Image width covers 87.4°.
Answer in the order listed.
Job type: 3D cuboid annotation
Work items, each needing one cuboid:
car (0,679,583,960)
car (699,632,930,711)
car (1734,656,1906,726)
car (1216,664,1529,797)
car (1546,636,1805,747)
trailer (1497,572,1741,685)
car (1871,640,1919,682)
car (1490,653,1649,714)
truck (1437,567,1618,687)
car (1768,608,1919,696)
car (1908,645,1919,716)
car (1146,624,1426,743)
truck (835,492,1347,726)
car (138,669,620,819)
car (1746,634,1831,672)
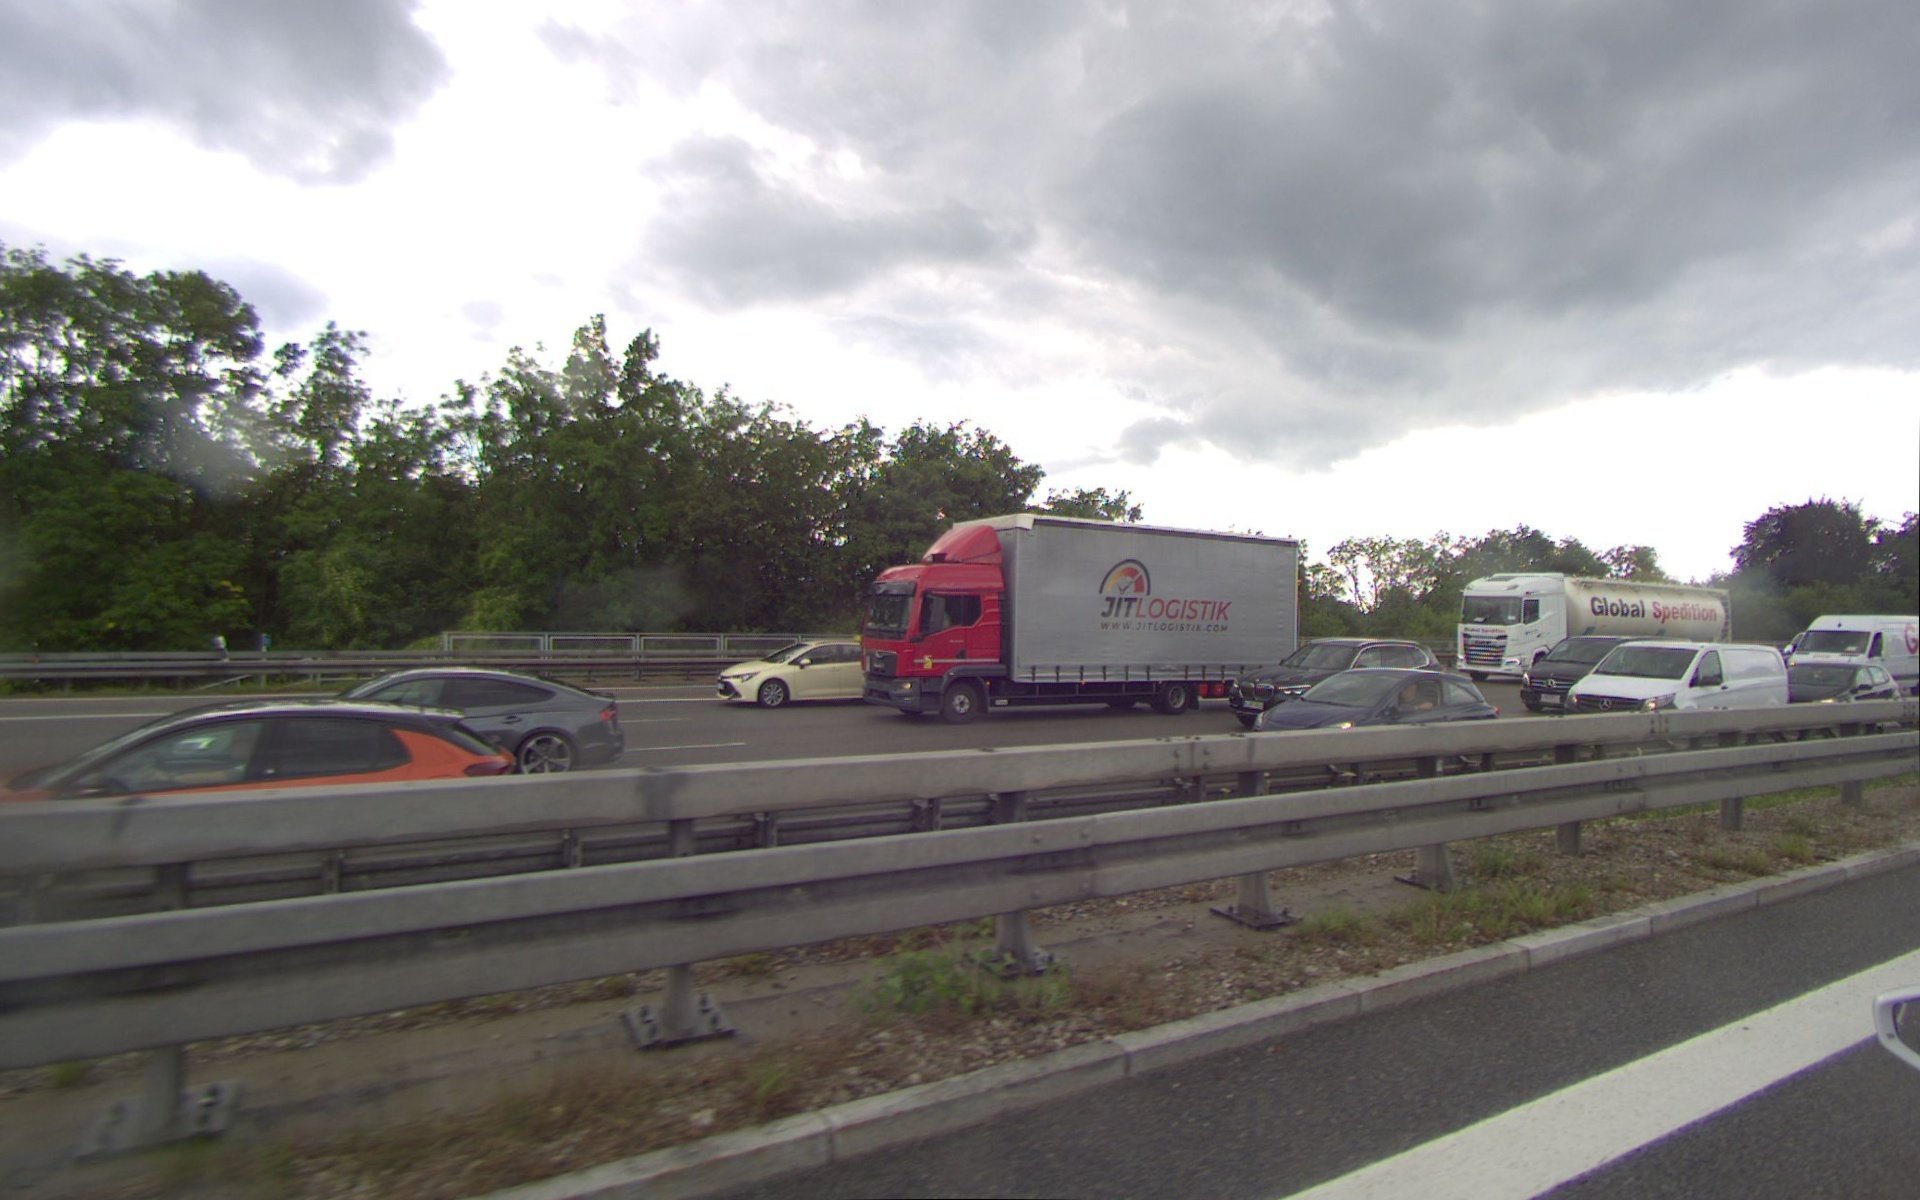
[{"bbox_3d":[-5.206,1.399,7.211,4.427,1.480,1.884,2,-2,-31],"label":"car"},{"bbox_3d":[-3.245,1.558,22.795,4.847,1.614,1.884,2,-2,-31],"label":"car"},{"bbox_3d":[18.707,1.918,21.805,4.202,1.314,1.613,2,-2,-31],"label":"car"},{"bbox_3d":[5.916,1.724,14.282,4.427,1.508,1.884,2,-2,-31],"label":"car"},{"bbox_3d":[13.646,1.619,19.033,5.775,1.824,1.884,2,-2,-31],"label":"car"},{"bbox_3d":[27.088,1.195,40.910,12.987,4.085,2.993,2,-1,-31],"label":"trailer"},{"bbox_3d":[44.144,2.795,46.322,4.542,1.824,1.885,2,-2,-30],"label":"car"},{"bbox_3d":[15.078,2.005,24.791,4.202,1.314,1.613,2,-2,-31],"label":"car"},{"bbox_3d":[21.133,1.020,37.362,6.455,4.105,3.010,1,-1,-30],"label":"truck"},{"bbox_3d":[29.832,1.697,33.316,7.516,2.671,2.118,1,-1,-29],"label":"car"},{"bbox_3d":[27.665,2.147,26.936,5.507,1.824,1.884,2,-2,-31],"label":"car"},{"bbox_3d":[6.275,1.481,19.092,5.521,1.988,1.885,2,-2,-30],"label":"car"},{"bbox_3d":[3.395,0.316,22.226,12.152,4.167,2.784,2,-1,-31],"label":"truck"},{"bbox_3d":[-6.518,1.538,11.759,4.528,1.314,1.884,2,-2,-31],"label":"car"},{"bbox_3d":[42.161,2.667,51.111,4.542,1.824,1.885,2,-2,-30],"label":"car"}]
